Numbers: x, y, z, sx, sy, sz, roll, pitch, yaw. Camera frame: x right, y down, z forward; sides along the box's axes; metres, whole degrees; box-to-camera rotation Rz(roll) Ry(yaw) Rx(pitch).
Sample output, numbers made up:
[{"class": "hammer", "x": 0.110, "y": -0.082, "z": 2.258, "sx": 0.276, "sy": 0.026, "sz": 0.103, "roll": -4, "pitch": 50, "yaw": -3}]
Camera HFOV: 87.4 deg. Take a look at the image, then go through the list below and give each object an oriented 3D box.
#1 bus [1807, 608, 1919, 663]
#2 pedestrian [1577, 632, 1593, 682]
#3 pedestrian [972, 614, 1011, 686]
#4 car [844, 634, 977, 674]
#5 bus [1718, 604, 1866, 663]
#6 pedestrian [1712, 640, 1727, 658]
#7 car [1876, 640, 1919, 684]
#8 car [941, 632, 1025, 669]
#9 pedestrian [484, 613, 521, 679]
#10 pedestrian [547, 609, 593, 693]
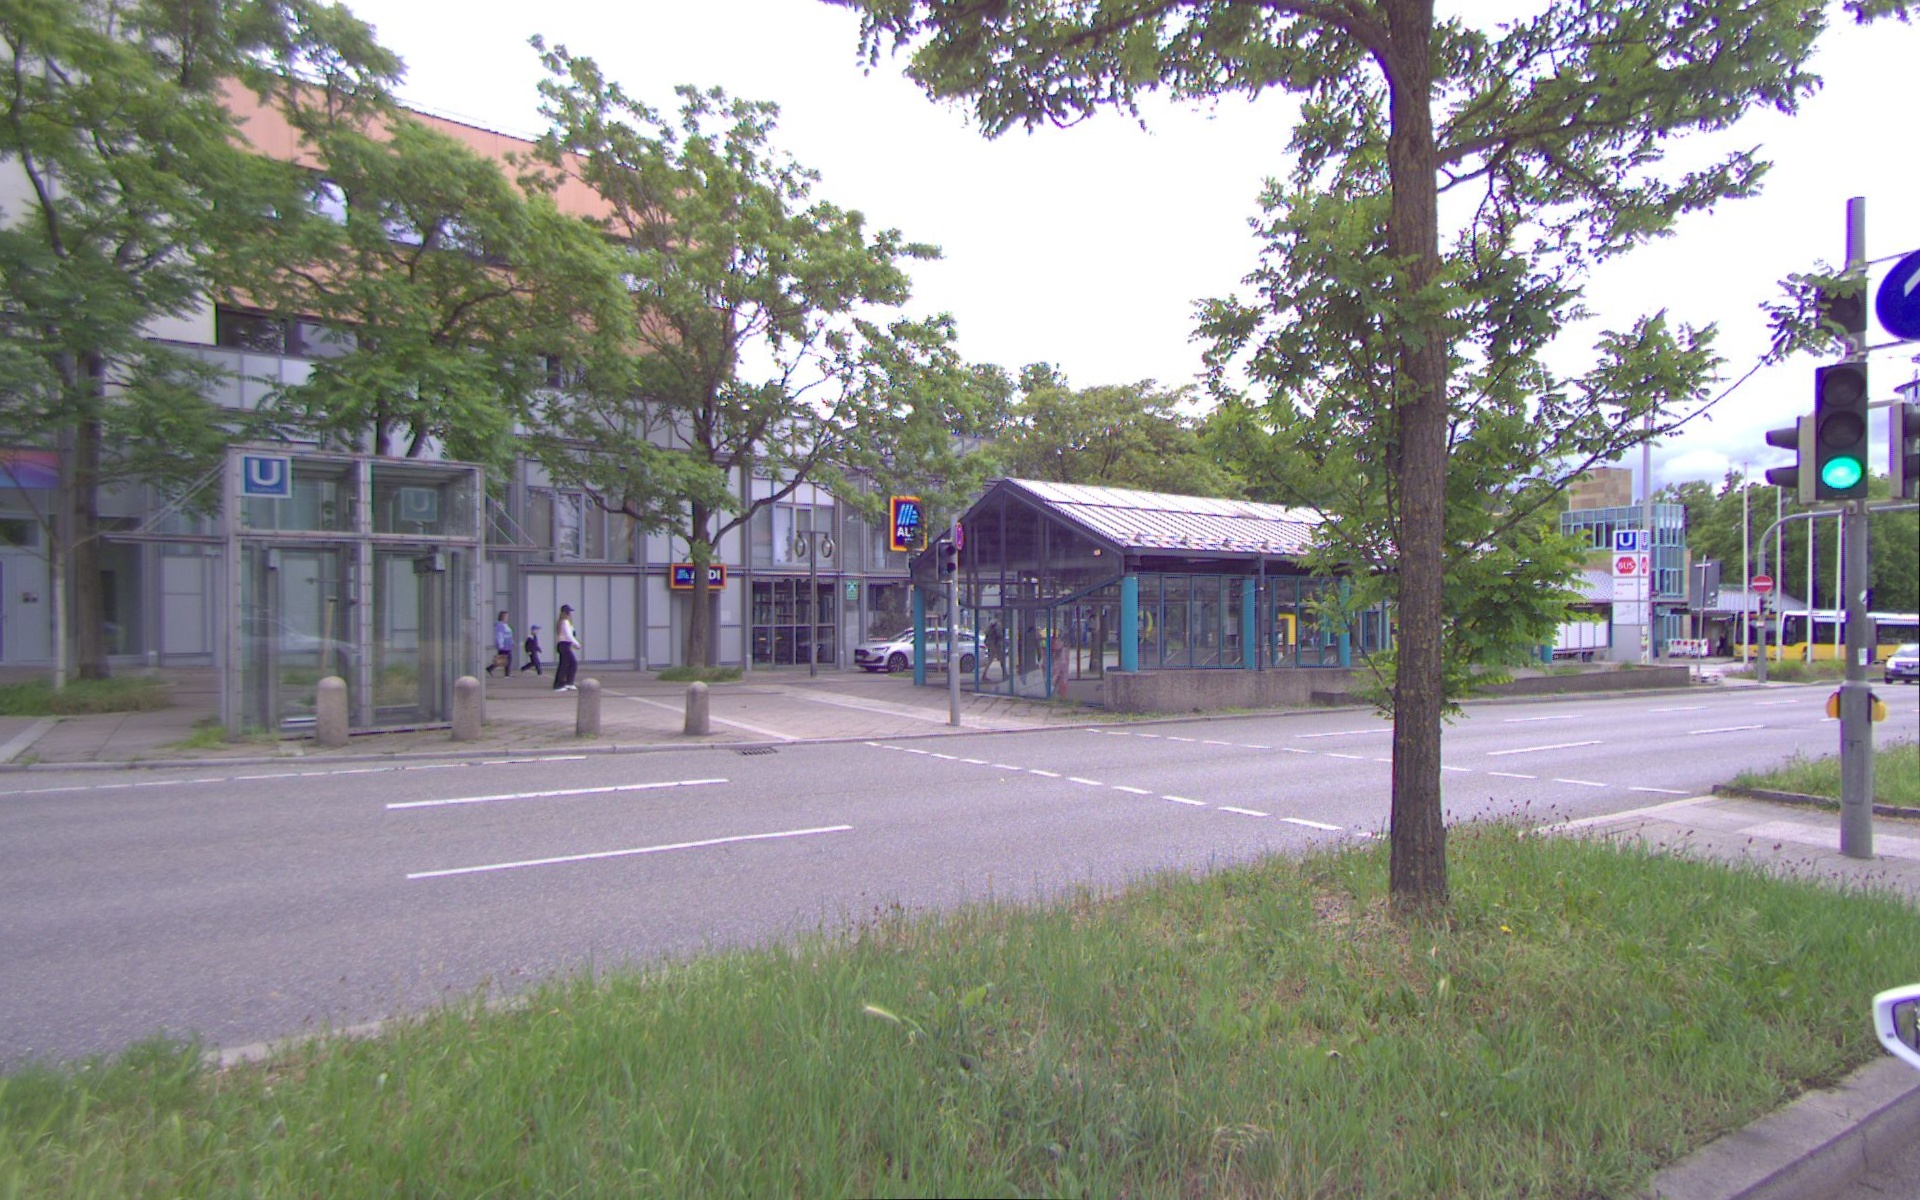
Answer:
[{"class": "bus", "x": 57.360, "y": 2.285, "z": 63.485, "sx": 7.771, "sy": 3.313, "sz": 2.980, "roll": 2, "pitch": -2, "yaw": -26}, {"class": "pedestrian", "x": 20.447, "y": 1.845, "z": 32.857, "sx": 0.412, "sy": 1.612, "sz": 0.356, "roll": 0, "pitch": -1, "yaw": 31}, {"class": "pedestrian", "x": 0.826, "y": 1.298, "z": 26.389, "sx": 0.530, "sy": 1.857, "sz": 0.916, "roll": 0, "pitch": -2, "yaw": 43}, {"class": "car", "x": -1.574, "y": 1.727, "z": 32.421, "sx": 3.959, "sy": 1.184, "sz": 1.812, "roll": 2, "pitch": -2, "yaw": -34}, {"class": "bus", "x": 49.366, "y": 2.047, "z": 59.541, "sx": 10.036, "sy": 3.293, "sz": 2.980, "roll": 2, "pitch": -2, "yaw": -26}, {"class": "pedestrian", "x": 46.337, "y": 2.963, "z": 61.275, "sx": 0.581, "sy": 1.071, "sz": 0.520, "roll": 2, "pitch": 0, "yaw": -30}, {"class": "car", "x": 37.000, "y": 2.379, "z": 38.869, "sx": 3.316, "sy": 1.599, "sz": 1.673, "roll": 2, "pitch": -2, "yaw": -36}, {"class": "car", "x": 1.094, "y": 2.481, "z": 50.058, "sx": 1.769, "sy": 1.710, "sz": 4.838, "roll": 2, "pitch": -2, "yaw": -33}, {"class": "pedestrian", "x": -10.735, "y": 1.070, "z": 23.561, "sx": 0.618, "sy": 1.523, "sz": 0.562, "roll": 2, "pitch": -2, "yaw": -41}, {"class": "pedestrian", "x": -8.055, "y": 1.044, "z": 20.755, "sx": 0.714, "sy": 1.672, "sz": 0.672, "roll": 2, "pitch": 0, "yaw": -34}]
